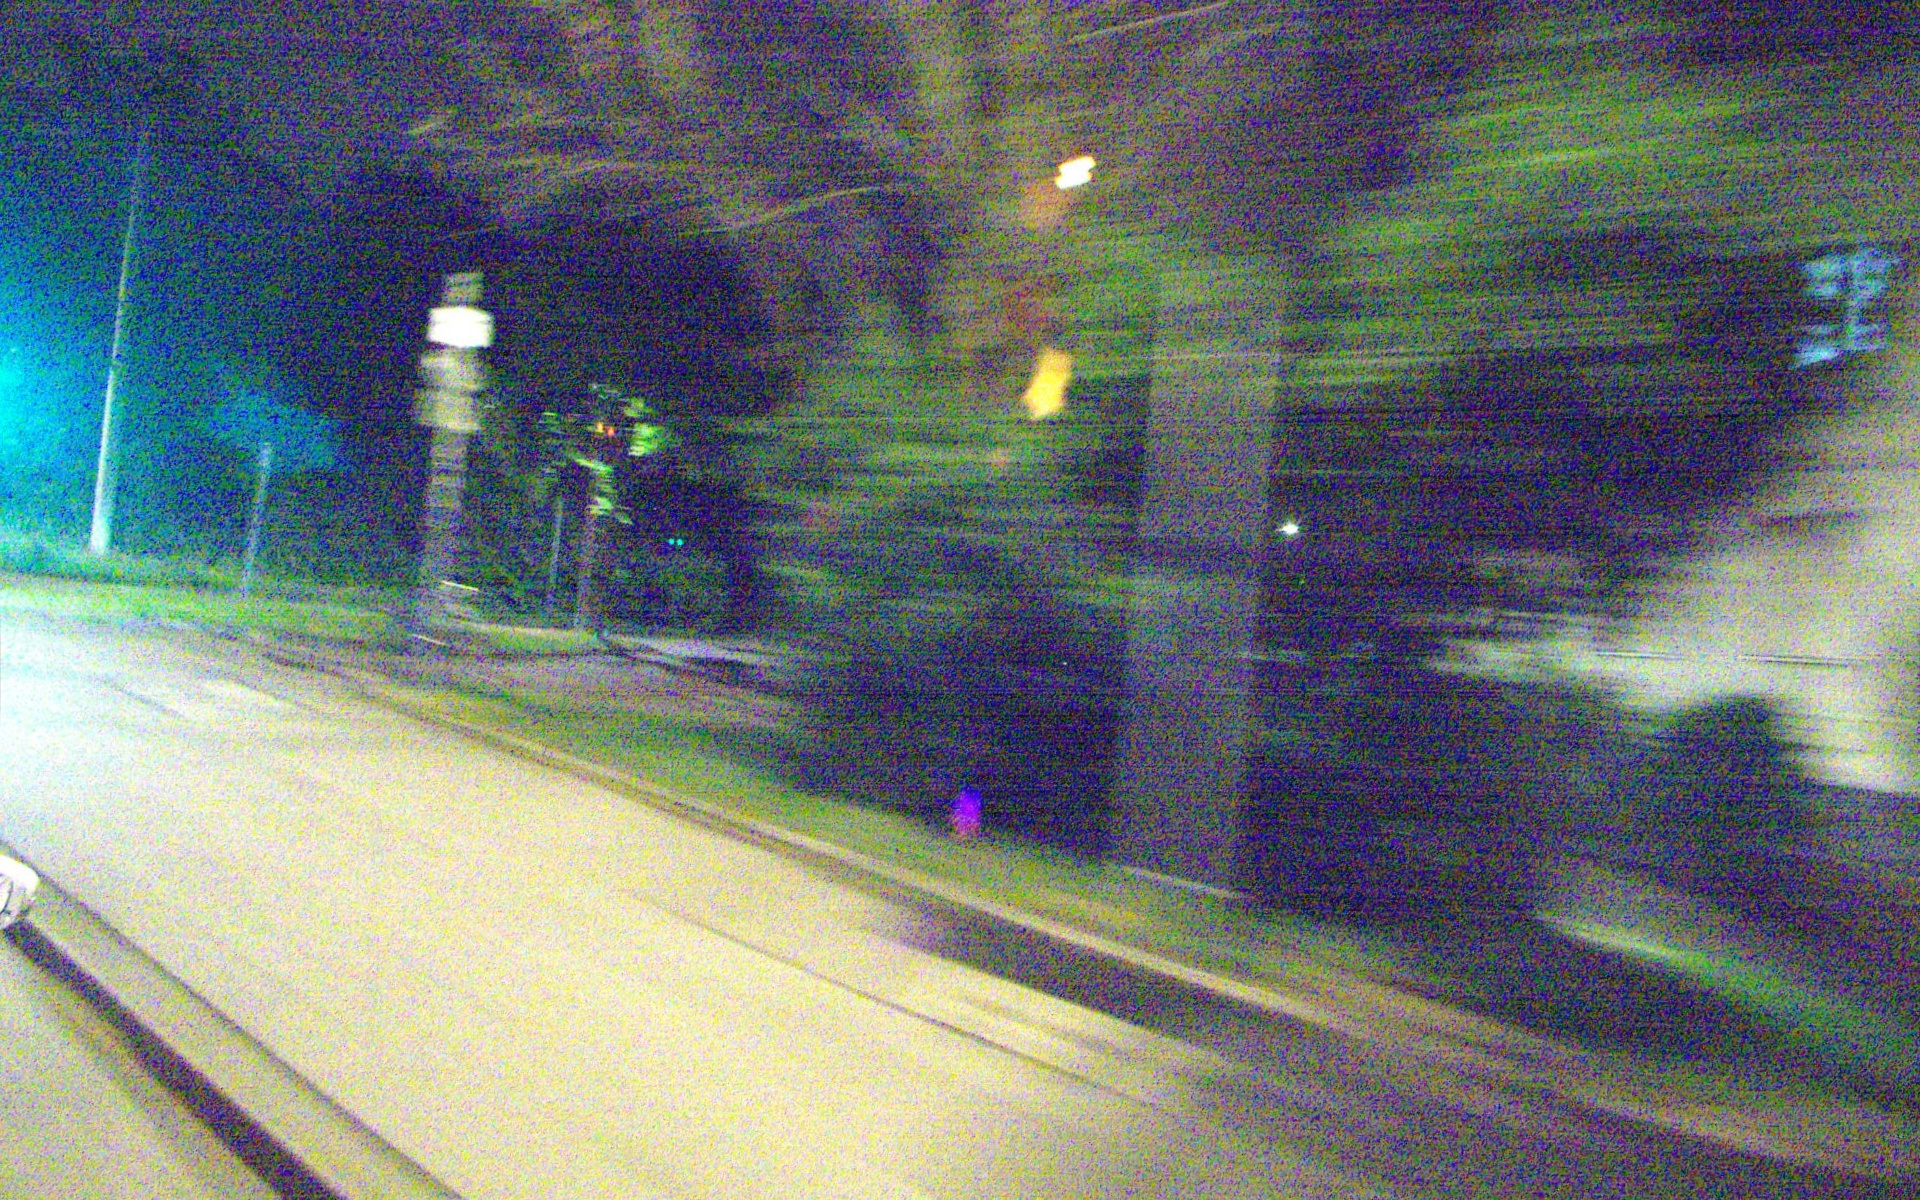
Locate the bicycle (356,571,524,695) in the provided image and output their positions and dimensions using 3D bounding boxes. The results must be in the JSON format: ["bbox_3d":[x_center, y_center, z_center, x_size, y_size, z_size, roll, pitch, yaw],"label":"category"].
[{"bbox_3d":[-4.814,0.279,9.257,1.912,0.994,0.295,4,-1,29],"label":"bicycle"}]
